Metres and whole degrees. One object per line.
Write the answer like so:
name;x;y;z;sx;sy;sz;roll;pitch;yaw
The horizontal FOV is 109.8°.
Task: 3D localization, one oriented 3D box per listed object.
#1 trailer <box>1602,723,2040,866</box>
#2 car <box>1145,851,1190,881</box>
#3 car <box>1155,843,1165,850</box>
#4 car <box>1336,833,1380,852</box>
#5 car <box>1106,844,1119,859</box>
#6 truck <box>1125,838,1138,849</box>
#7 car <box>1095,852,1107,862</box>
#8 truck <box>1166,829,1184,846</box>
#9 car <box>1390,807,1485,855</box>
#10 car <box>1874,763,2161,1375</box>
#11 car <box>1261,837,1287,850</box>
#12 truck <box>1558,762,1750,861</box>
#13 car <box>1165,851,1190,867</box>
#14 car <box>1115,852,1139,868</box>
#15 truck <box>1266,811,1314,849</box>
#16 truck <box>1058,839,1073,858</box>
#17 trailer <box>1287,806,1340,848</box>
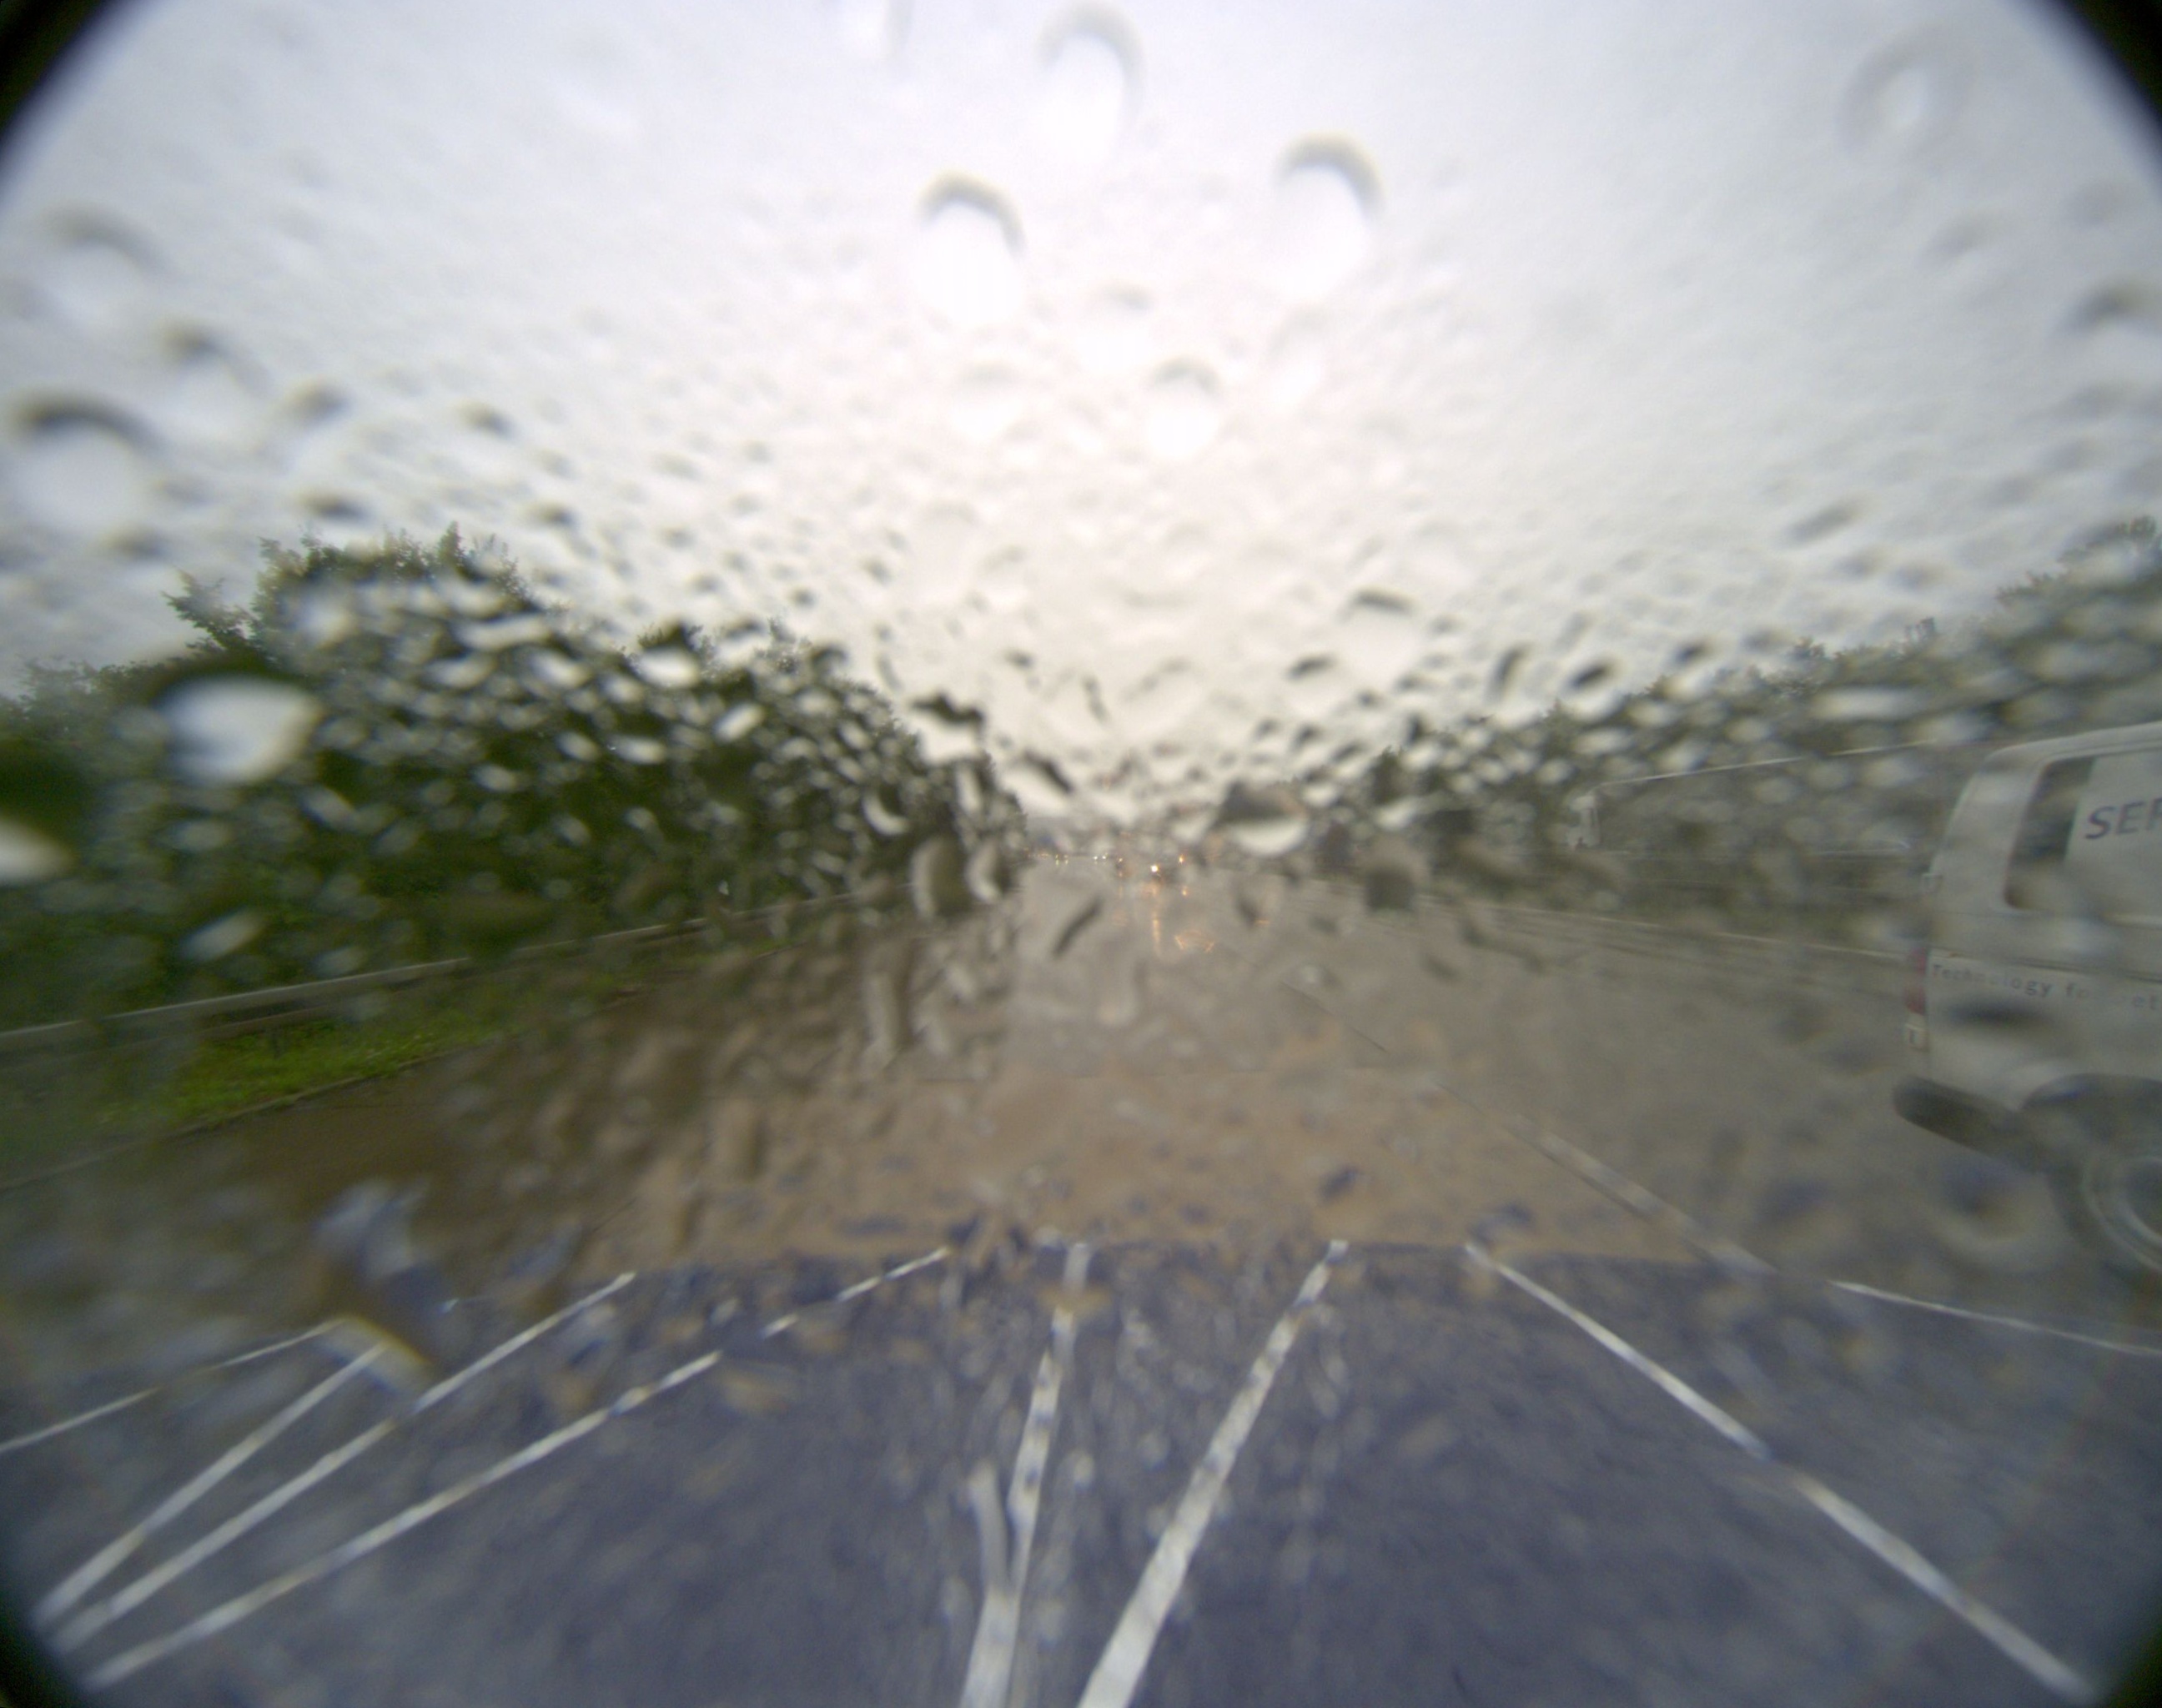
trailer;25.116;-1.685;27.832;2.774;3.779;13.777;-3;0;1
car;4.354;0.570;38.865;1.934;1.426;4.518;0;1;1
car;17.356;-1.587;166.634;1.757;1.331;4.424;-3;0;0
car;21.374;-0.840;58.774;1.757;1.331;4.424;-3;0;0
car;5.718;-0.489;137.694;2.045;2.616;6.403;0;1;0
truck;15.415;-3.208;232.715;2.781;3.296;11.512;-3;0;-2
car;3.183;0.482;120.572;1.934;1.426;4.518;0;1;1
truck;21.025;-3.631;170.544;2.591;3.679;9.798;-3;0;-1
car;21.161;-1.292;45.582;2.188;2.552;7.445;-3;0;1
car;4.225;0.645;0.630;1.904;1.883;5.043;-2;0;1
car;21.278;-1.159;83.860;1.757;1.331;4.424;-3;0;0
truck;25.269;-1.705;34.141;2.781;3.779;7.680;-3;0;1
car;8.614;0.425;68.149;1.671;1.426;4.349;-1;0;-1
car;4.157;0.533;68.792;1.934;1.426;4.517;0;1;0
truck;24.858;-2.739;90.872;2.855;4.130;10.177;-3;0;0
truck;-3.490;-1.277;173.760;3.058;3.994;10.045;0;-2;2
trailer;24.806;-2.749;81.509;2.855;4.130;8.524;-3;0;0
